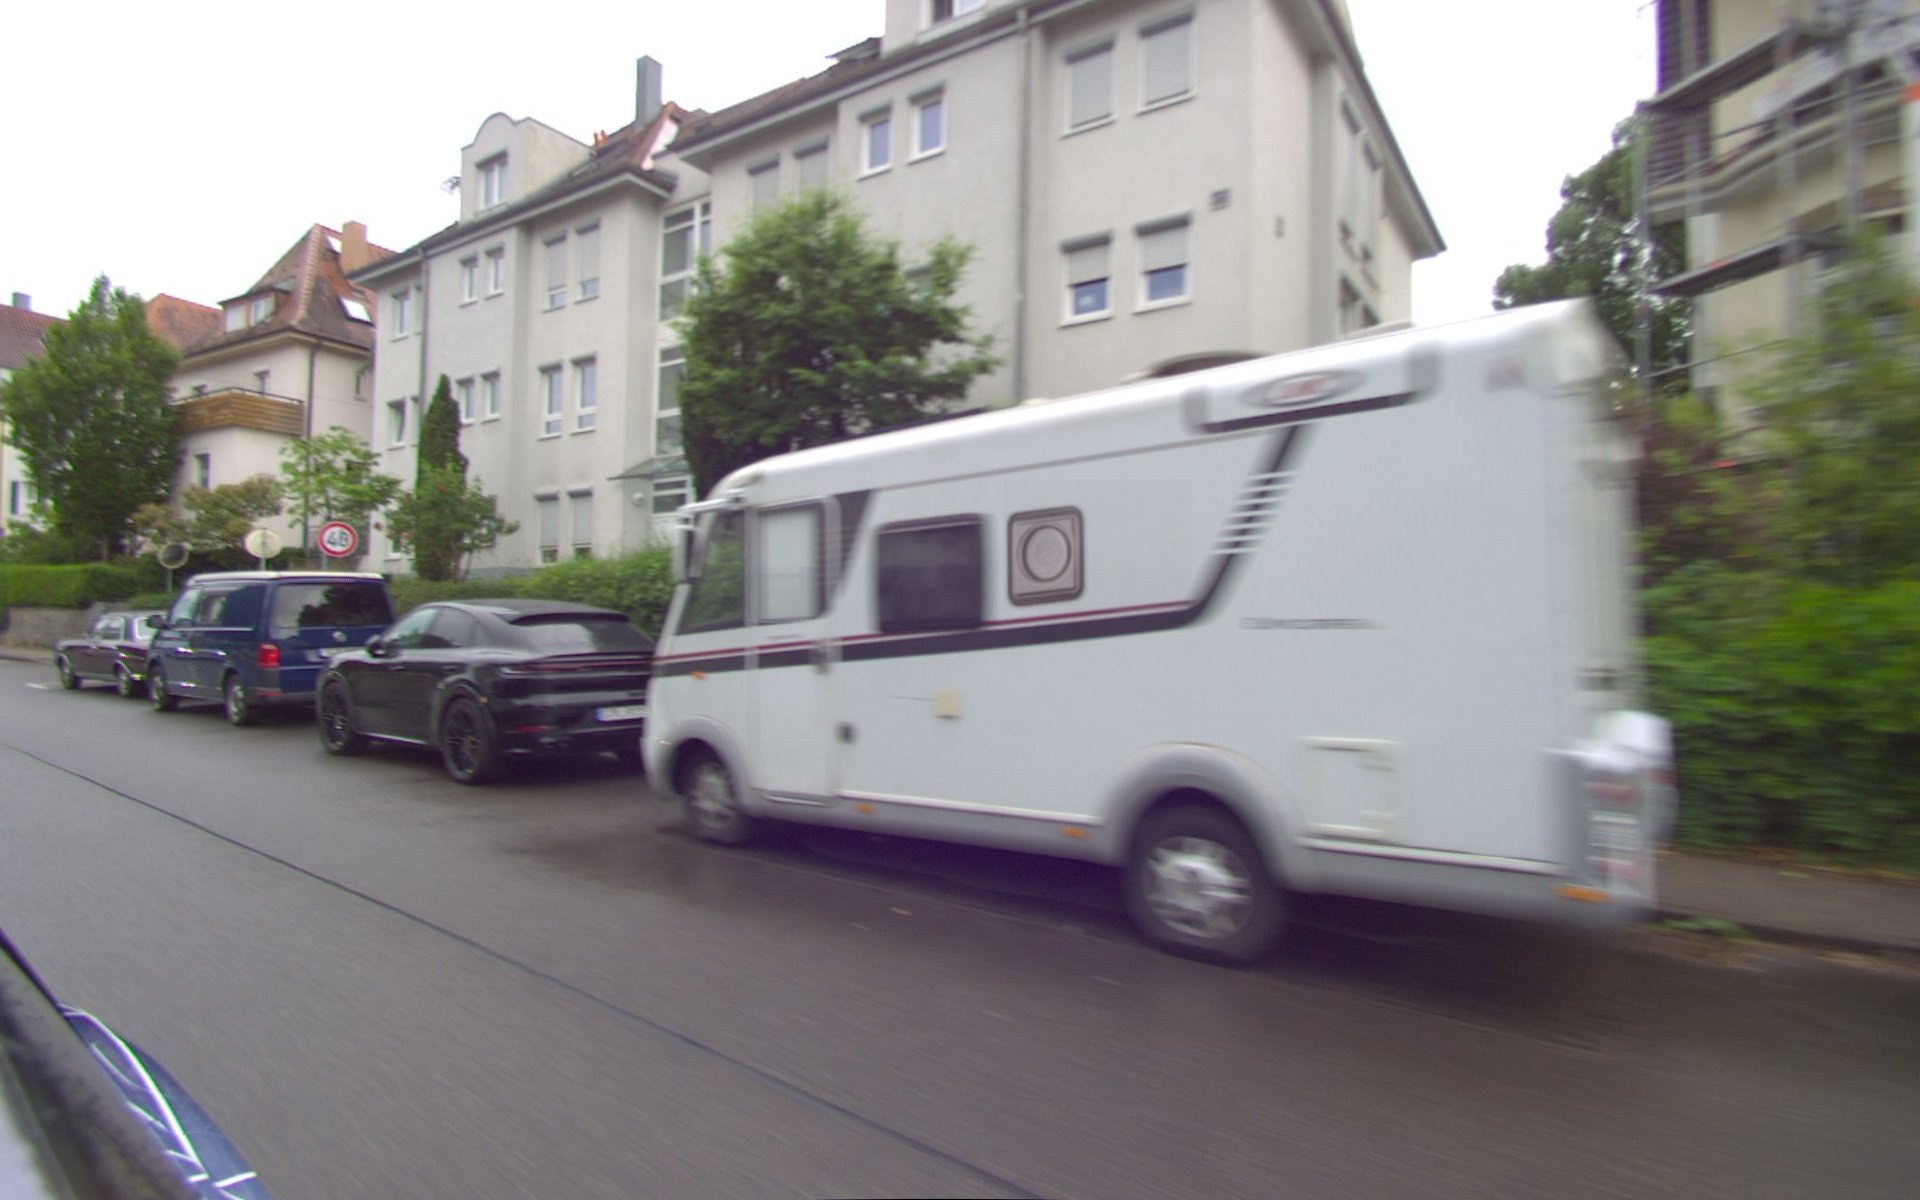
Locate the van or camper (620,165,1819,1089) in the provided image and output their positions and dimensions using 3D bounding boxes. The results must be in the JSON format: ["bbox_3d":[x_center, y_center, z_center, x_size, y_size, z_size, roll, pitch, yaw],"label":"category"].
[{"bbox_3d":[0.842,0.140,5.831,6.109,2.746,2.325,-1,-3,38],"label":"van or camper"}]

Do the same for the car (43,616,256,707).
[{"bbox_3d":[-14.517,1.012,18.052,4.498,1.383,1.661,0,-1,34],"label":"car"}]

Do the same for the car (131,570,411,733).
[{"bbox_3d":[-9.945,0.666,14.490,4.571,2.003,1.816,-1,-1,35],"label":"car"}]

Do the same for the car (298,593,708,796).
[{"bbox_3d":[-4.781,0.817,10.251,4.741,1.607,1.814,-1,-3,39],"label":"car"}]
